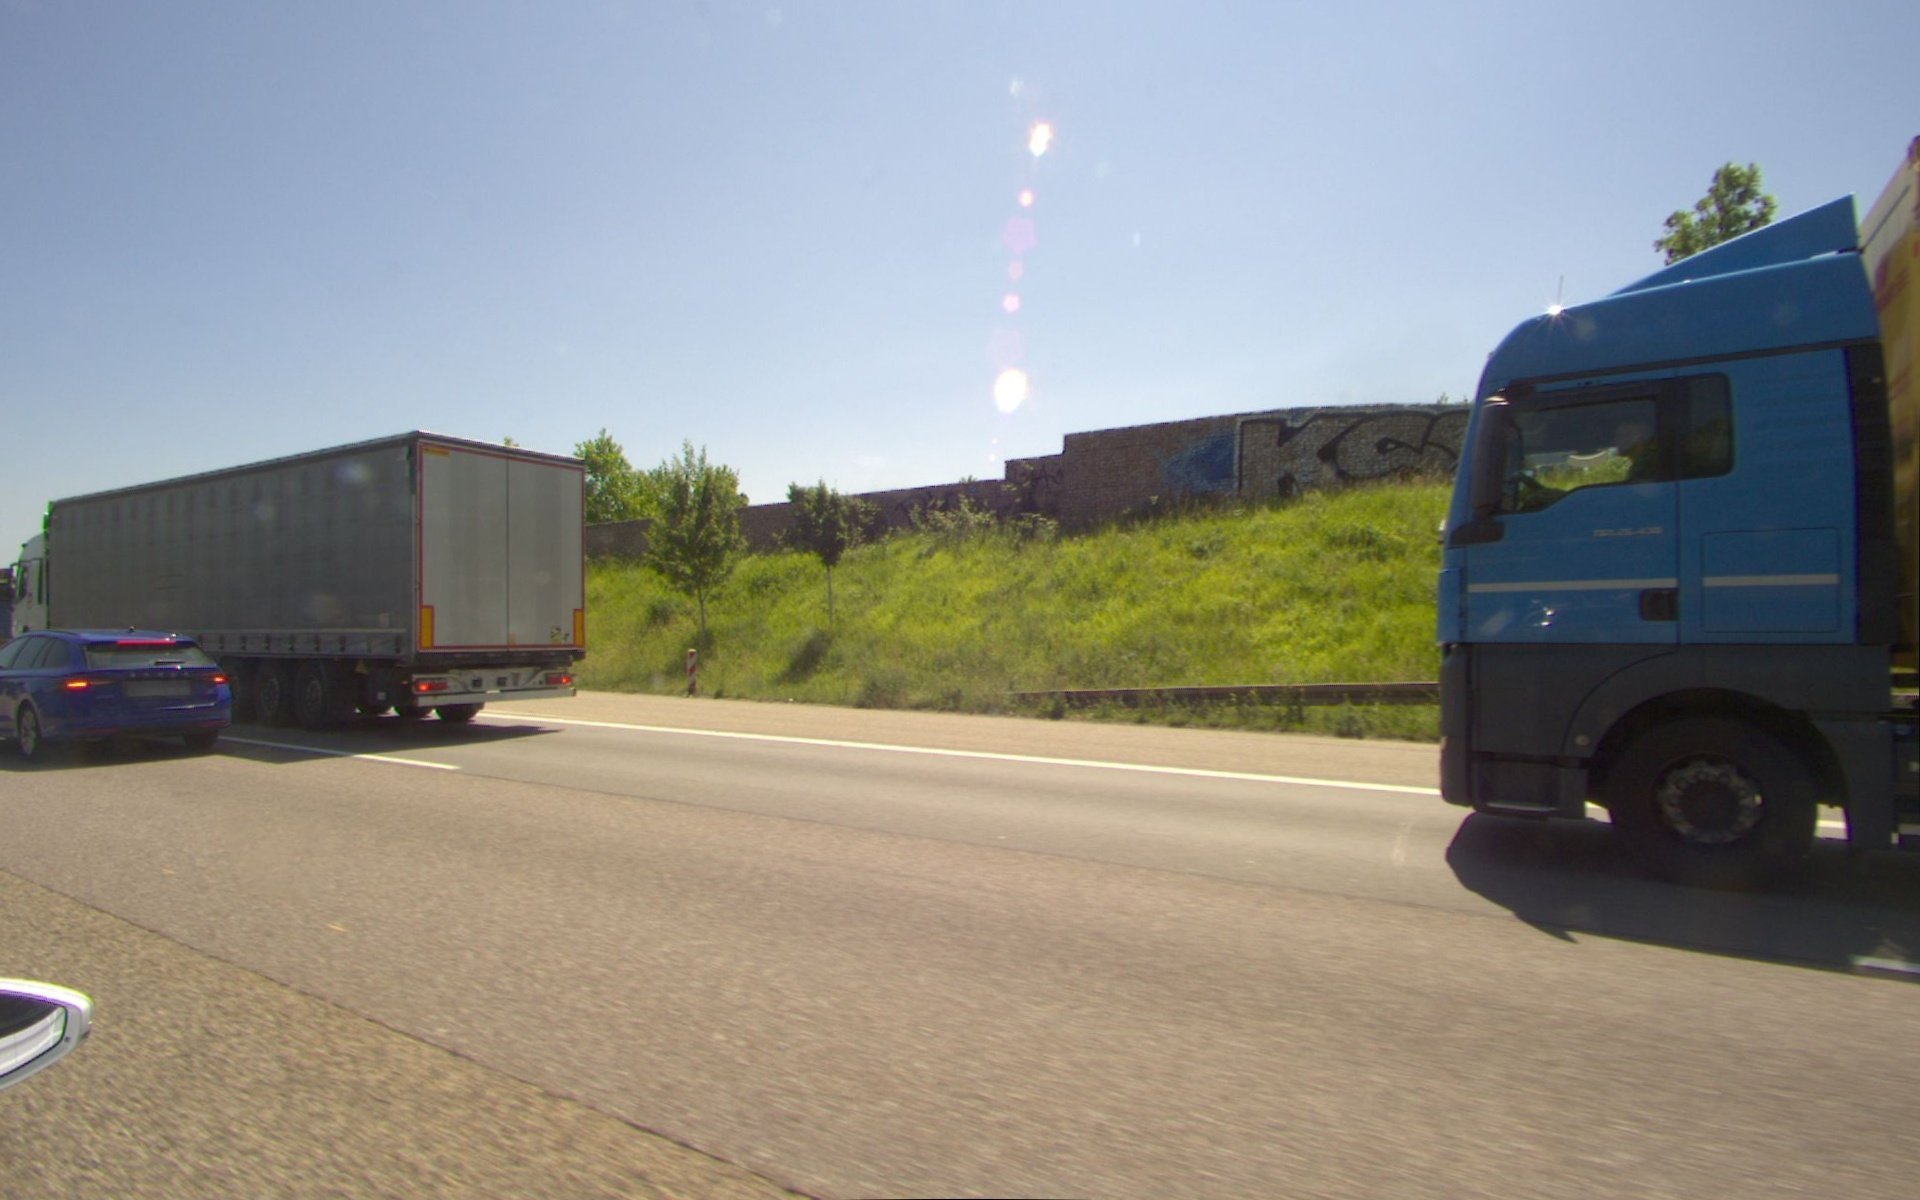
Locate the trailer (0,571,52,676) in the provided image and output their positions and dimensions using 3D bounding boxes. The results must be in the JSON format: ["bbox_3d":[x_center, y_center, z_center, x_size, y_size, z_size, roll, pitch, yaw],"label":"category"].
[{"bbox_3d":[-30.099,0.622,29.503,8.986,2.873,2.739,0,-1,33],"label":"trailer"}]

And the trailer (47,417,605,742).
[{"bbox_3d":[-11.828,-0.145,17.597,13.559,4.102,2.956,-1,-1,33],"label":"trailer"}]

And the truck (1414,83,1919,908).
[{"bbox_3d":[7.723,-0.502,4.791,9.812,4.162,2.760,0,-1,33],"label":"truck"}]

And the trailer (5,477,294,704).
[{"bbox_3d":[-17.103,-0.126,21.042,6.320,4.096,2.918,0,-1,33],"label":"trailer"}]

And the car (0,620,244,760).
[{"bbox_3d":[-10.776,1.019,12.359,4.366,1.459,1.703,-2,-2,34],"label":"car"}]
